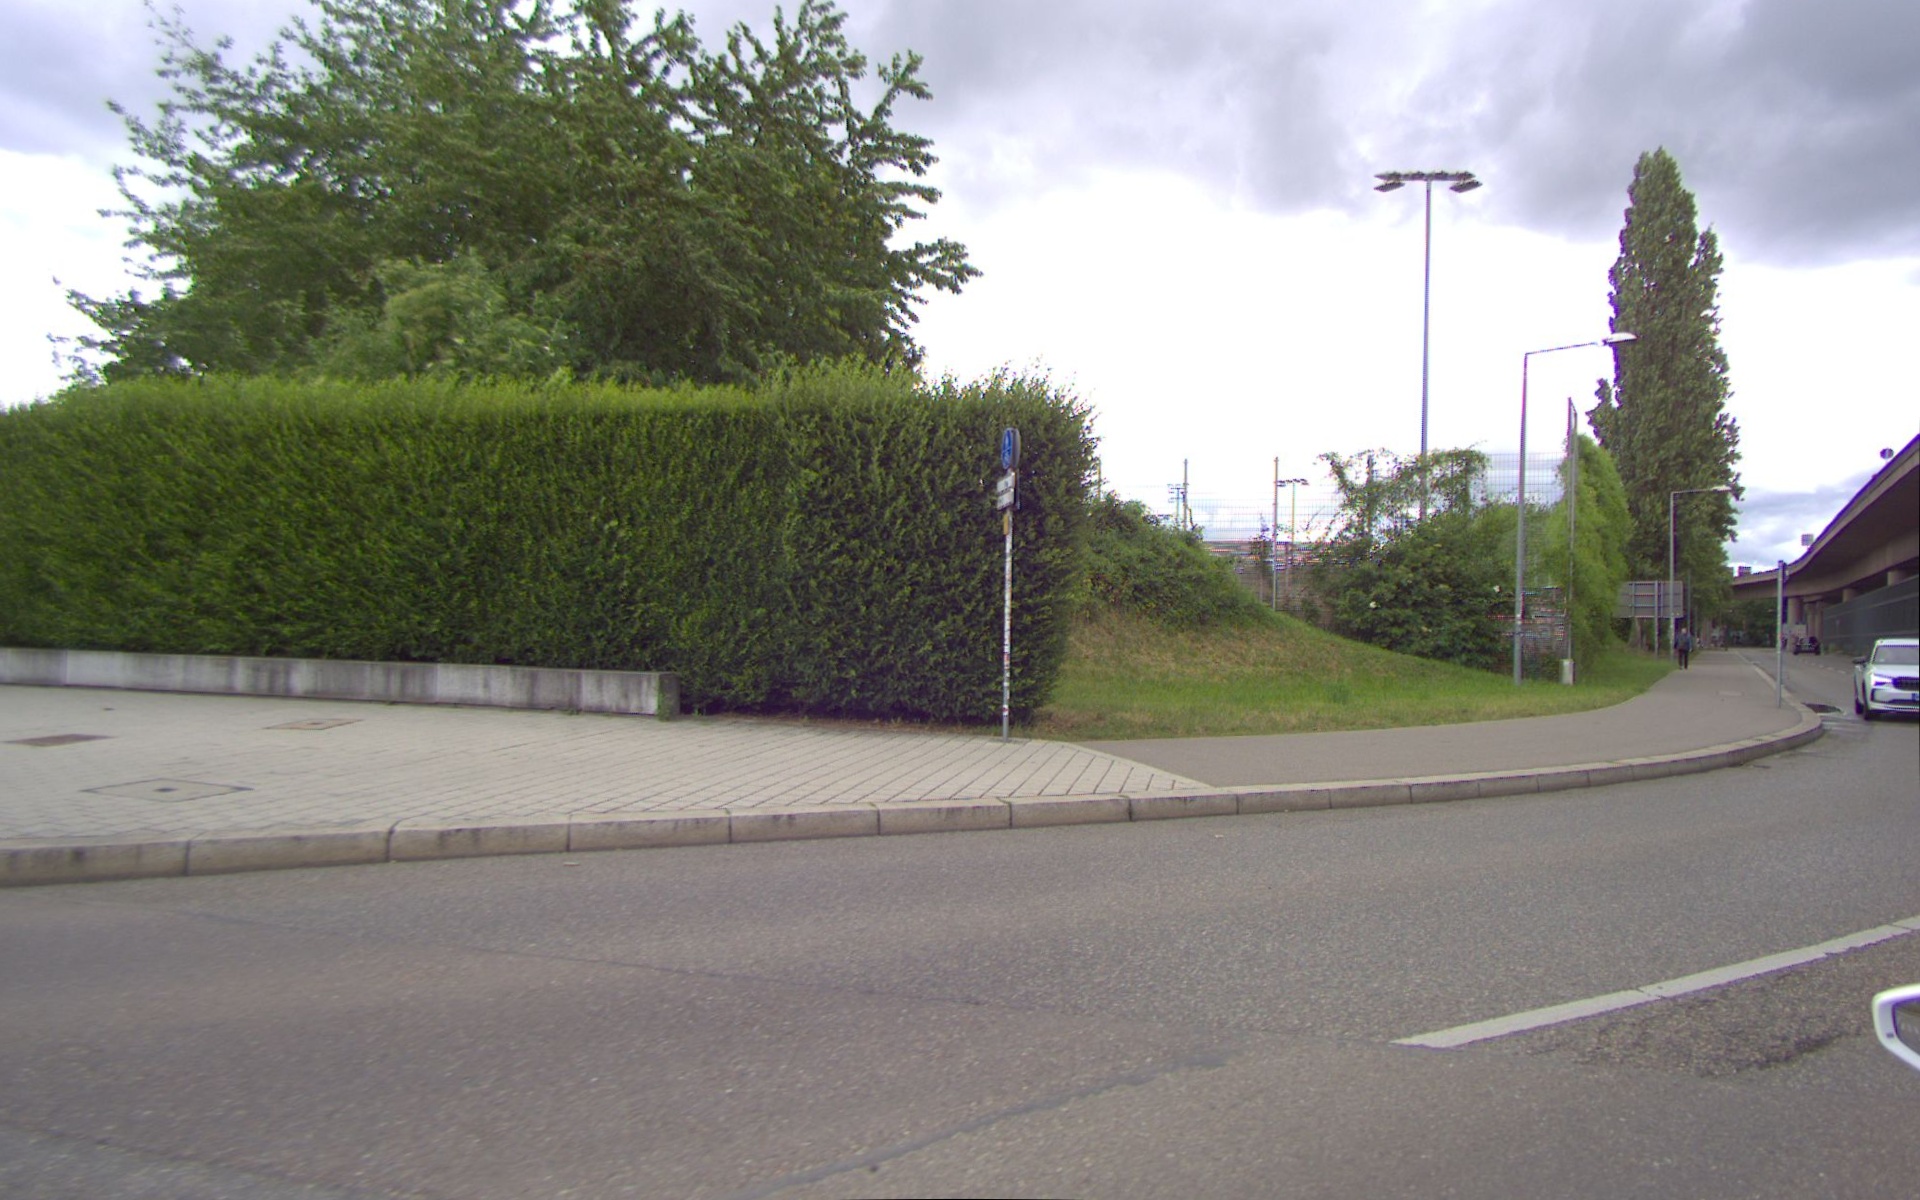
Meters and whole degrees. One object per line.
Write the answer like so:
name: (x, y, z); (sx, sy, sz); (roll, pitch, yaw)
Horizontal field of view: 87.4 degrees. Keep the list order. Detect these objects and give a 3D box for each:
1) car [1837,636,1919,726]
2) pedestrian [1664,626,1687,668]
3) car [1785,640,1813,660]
car: (19.727, 1.619, 20.853); (1.840, 1.706, 4.391); (0, -2, 35)
pedestrian: (31.855, 2.084, 44.706); (0.793, 1.804, 0.917); (0, 0, 37)
car: (79.223, 4.692, 94.884); (1.816, 1.734, 3.690); (0, -1, 38)
